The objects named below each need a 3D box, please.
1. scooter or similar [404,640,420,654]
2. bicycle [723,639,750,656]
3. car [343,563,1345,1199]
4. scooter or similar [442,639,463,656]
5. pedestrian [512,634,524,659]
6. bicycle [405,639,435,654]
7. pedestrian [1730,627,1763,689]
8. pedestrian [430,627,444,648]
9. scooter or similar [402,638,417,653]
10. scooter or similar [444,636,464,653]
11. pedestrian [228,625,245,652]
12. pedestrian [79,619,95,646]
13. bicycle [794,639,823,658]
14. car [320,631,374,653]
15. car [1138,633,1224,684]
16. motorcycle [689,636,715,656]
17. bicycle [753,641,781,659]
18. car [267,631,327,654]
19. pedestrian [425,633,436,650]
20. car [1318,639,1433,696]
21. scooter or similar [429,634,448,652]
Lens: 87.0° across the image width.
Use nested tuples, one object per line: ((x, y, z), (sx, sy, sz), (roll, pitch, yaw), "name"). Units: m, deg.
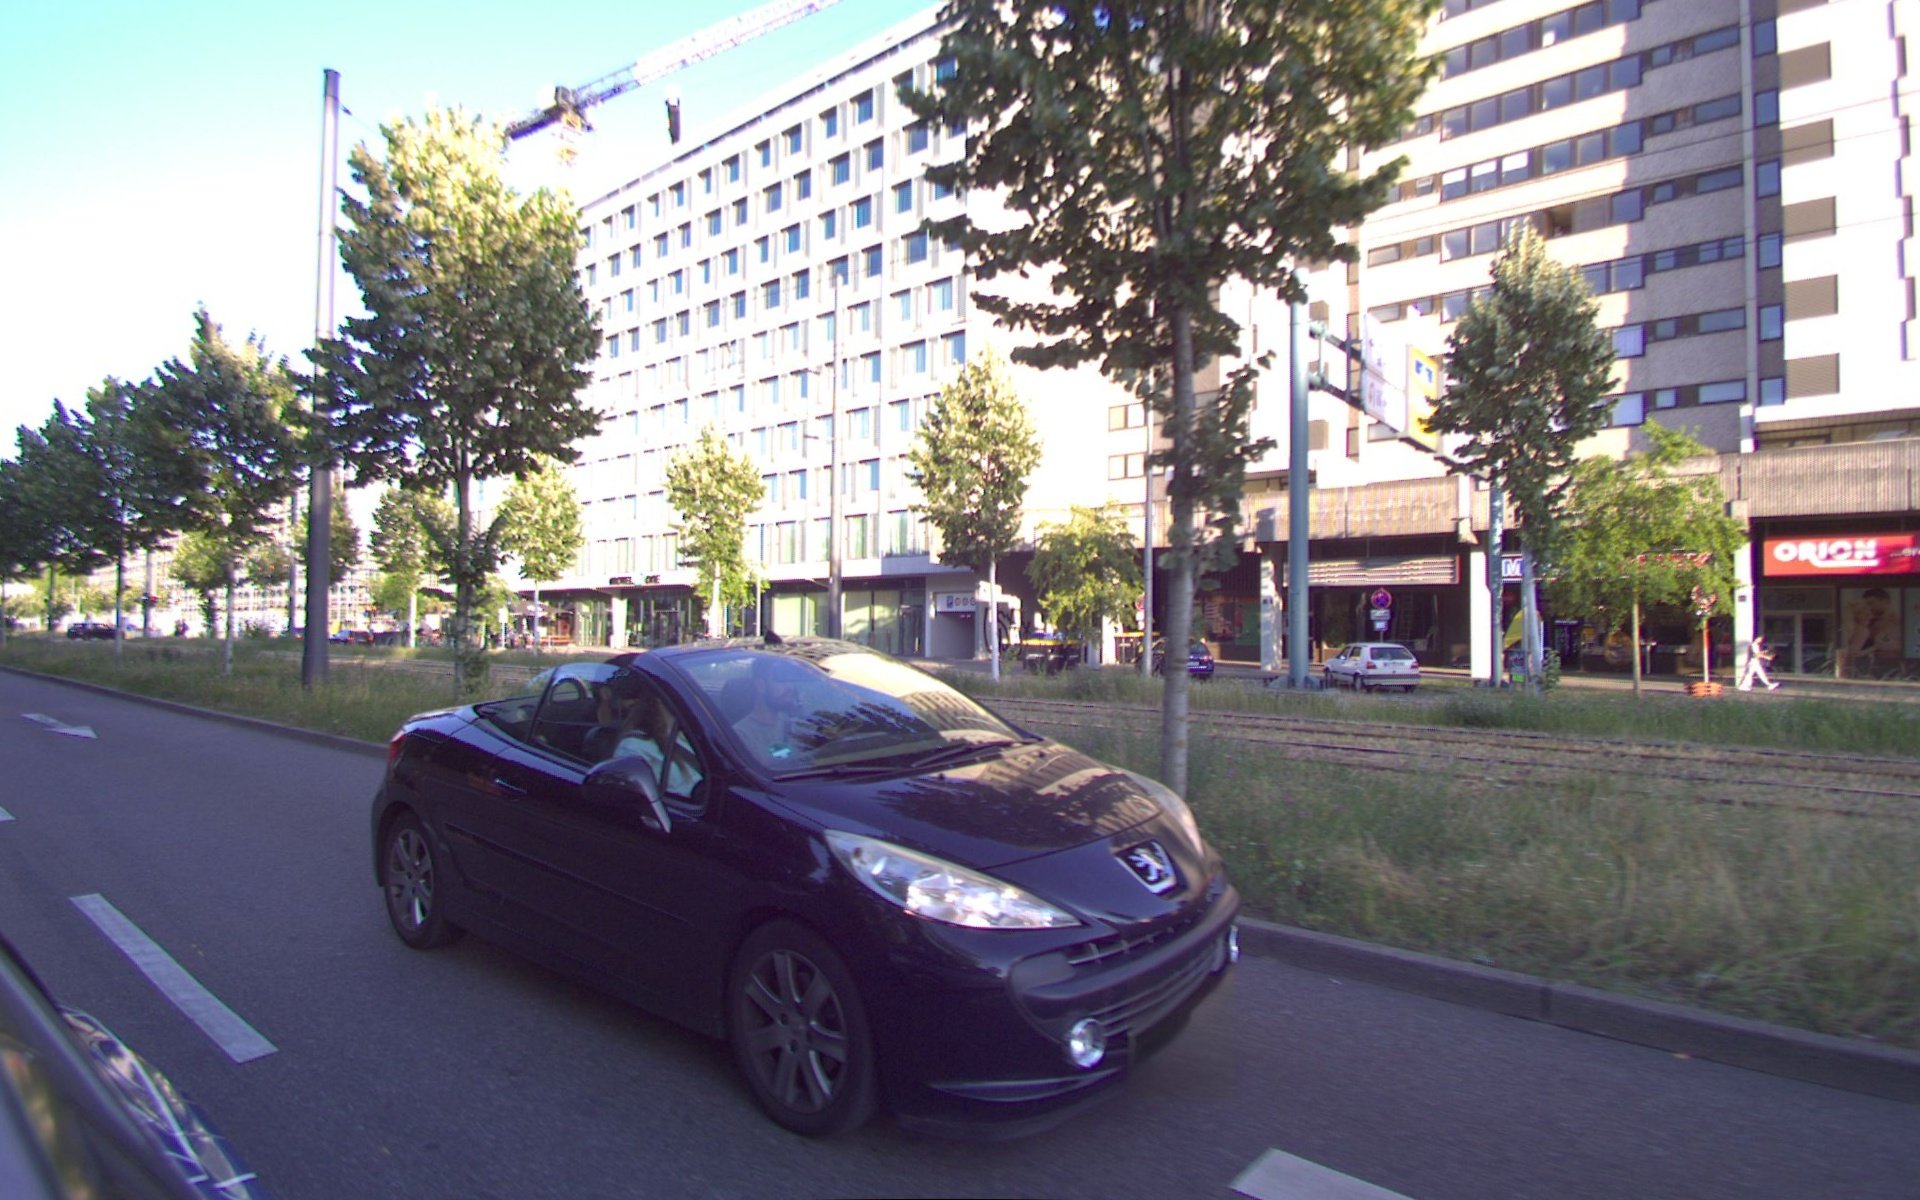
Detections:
((-40.211, 3.458, 74.261), (0.291, 1.041, 0.996), (0, -1, 40), "scooter or similar")
((-13.272, 2.808, 60.092), (0.420, 1.028, 1.726), (-1, -3, 36), "bicycle")
((-0.756, 0.734, 3.987), (3.898, 1.461, 1.701), (-3, -3, 40), "car")
((-34.731, 3.231, 69.293), (0.338, 1.066, 1.170), (-4, 0, 40), "scooter or similar")
((-29.924, 3.146, 68.537), (0.603, 1.612, 0.491), (-2, -1, 42), "pedestrian")
((-39.067, 3.358, 73.241), (0.442, 1.067, 1.891), (-1, -1, 37), "bicycle")
((21.802, 1.606, 28.067), (0.661, 1.674, 0.657), (-1, -1, 41), "pedestrian")
((-40.916, 2.947, 79.187), (0.699, 1.616, 0.680), (-1, -1, 2), "pedestrian")
((-40.897, 3.373, 75.163), (0.338, 1.093, 0.962), (2, 2, 40), "scooter or similar")
((-35.333, 3.086, 70.641), (0.338, 1.172, 1.169), (-1, -2, 40), "scooter or similar")
((-53.708, 2.849, 75.104), (0.854, 2.029, 0.822), (-1, -3, 43), "pedestrian")
((-60.354, 2.265, 69.949), (0.762, 1.850, 0.699), (-2, -1, 39), "pedestrian")
((-8.317, 2.674, 55.568), (0.420, 1.028, 1.771), (-1, -3, 36), "bicycle")
((-41.835, 2.831, 69.021), (4.219, 1.451, 1.866), (-2, -3, 39), "car")
((7.422, 1.936, 34.479), (1.981, 1.602, 4.284), (0, -2, 0), "car")
((-15.986, 2.853, 62.733), (0.513, 1.180, 1.882), (-1, -2, 25), "motorcycle")
((-11.132, 2.855, 58.416), (0.420, 1.028, 1.771), (-1, -3, 36), "bicycle")
((-43.848, 2.820, 66.881), (4.797, 1.452, 1.994), (-2, -5, 40), "car")
((-47.173, 3.674, 90.166), (0.772, 1.474, 0.598), (-2, -3, 40), "pedestrian")
((12.404, 1.976, 30.496), (1.800, 1.447, 4.129), (-1, -1, 1), "car")
((-36.883, 3.022, 71.607), (0.338, 1.227, 1.169), (-1, -3, 41), "scooter or similar")
